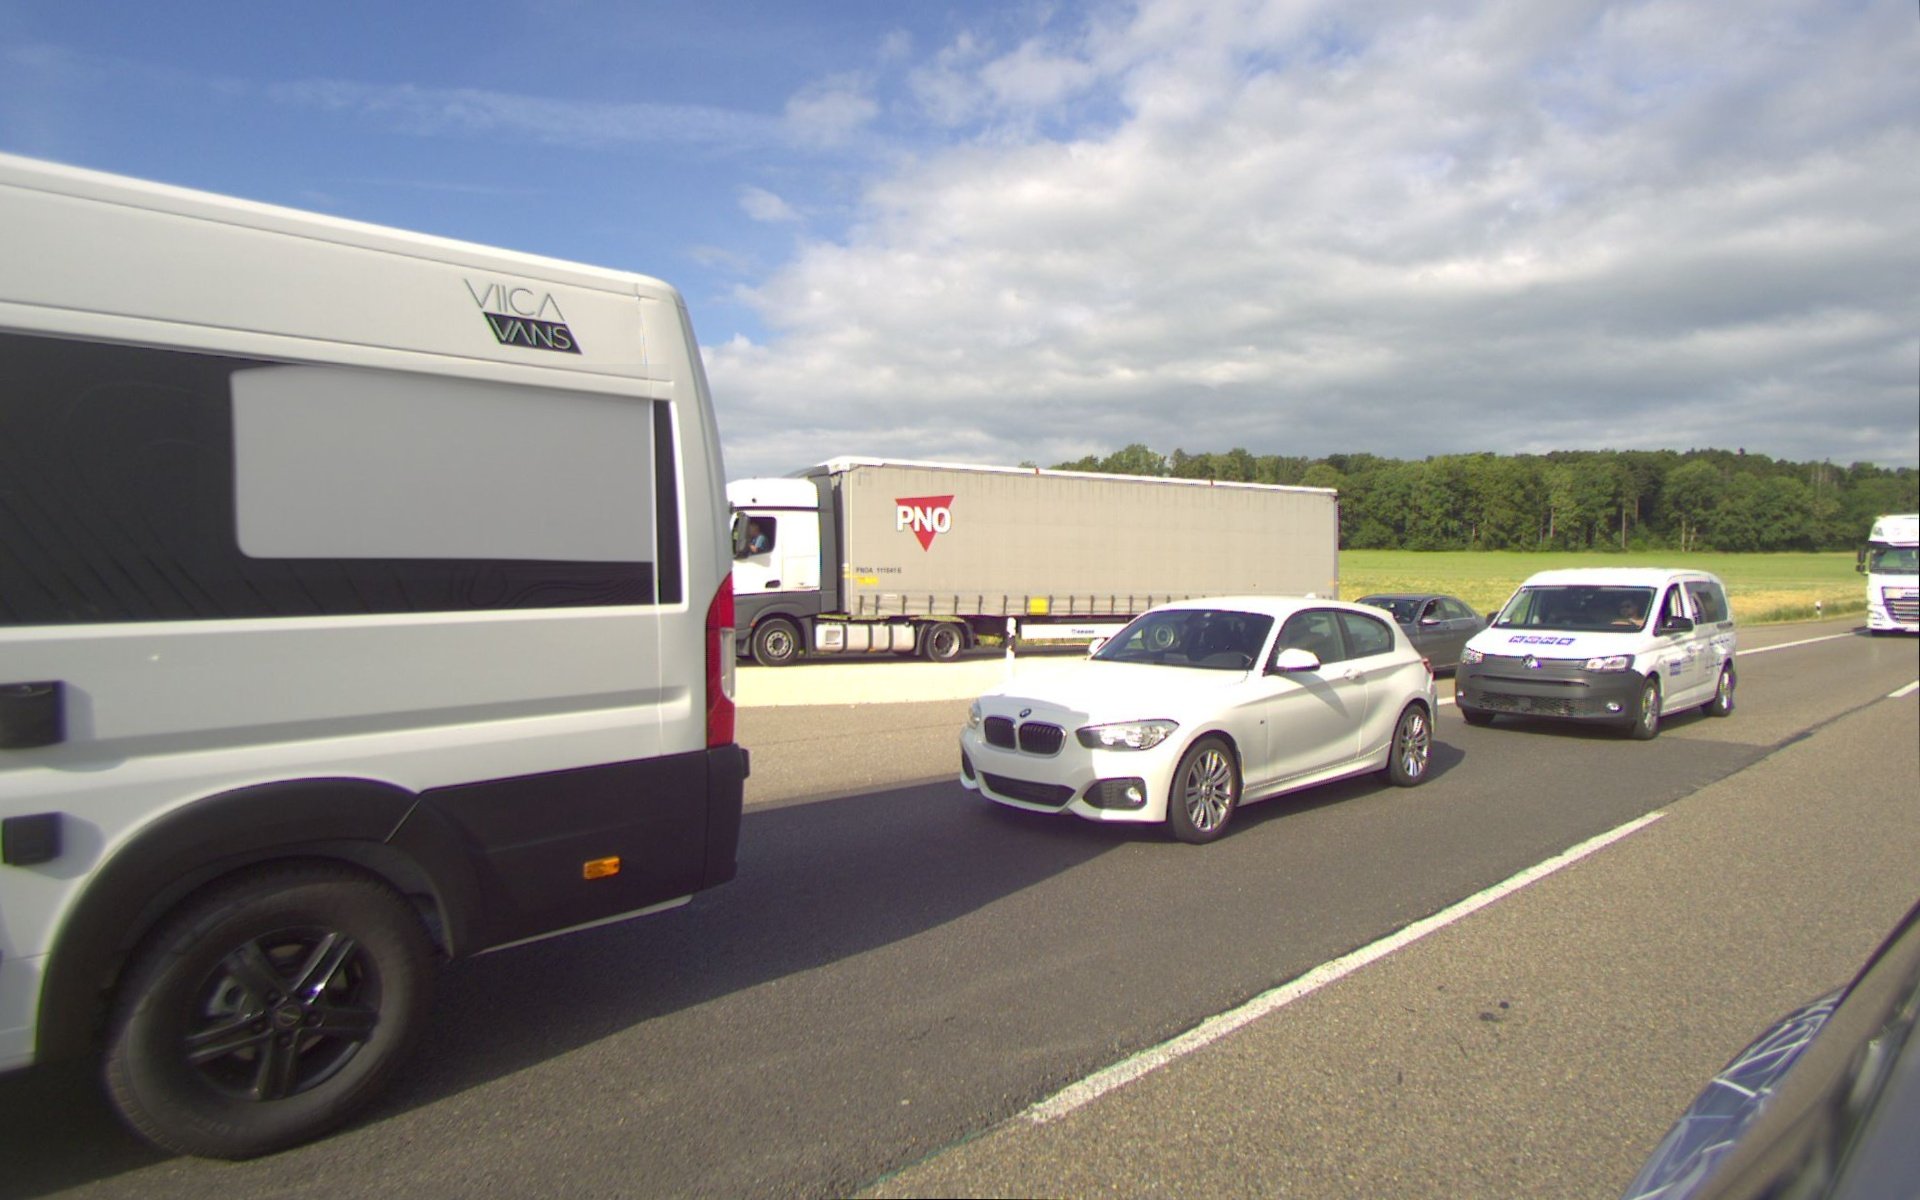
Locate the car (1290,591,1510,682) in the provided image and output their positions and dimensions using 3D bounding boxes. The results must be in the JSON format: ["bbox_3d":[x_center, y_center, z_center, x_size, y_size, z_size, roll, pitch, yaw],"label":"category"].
[{"bbox_3d":[7.514,0.536,17.143,4.108,1.370,1.707,0,0,-39],"label":"car"}]

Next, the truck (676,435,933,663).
[{"bbox_3d":[-3.251,-0.952,20.980,4.662,4.226,2.727,0,0,-26],"label":"truck"}]

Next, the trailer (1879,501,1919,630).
[{"bbox_3d":[36.701,-1.266,37.248,13.777,4.212,2.739,-2,1,-41],"label":"trailer"}]

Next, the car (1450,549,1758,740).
[{"bbox_3d":[7.530,0.400,11.629,4.620,1.779,1.727,0,0,-41],"label":"car"}]

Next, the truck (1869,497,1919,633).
[{"bbox_3d":[32.055,-1.151,33.132,5.667,4.226,2.733,-1,1,-41],"label":"truck"}]

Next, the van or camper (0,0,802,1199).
[{"bbox_3d":[-3.601,-0.007,2.248,6.222,2.714,2.219,0,1,-41],"label":"van or camper"}]

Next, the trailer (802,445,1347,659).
[{"bbox_3d":[3.193,-0.961,24.126,13.543,4.213,2.748,0,0,-26],"label":"trailer"}]

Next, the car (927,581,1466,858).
[{"bbox_3d":[1.900,0.604,7.316,4.158,1.450,1.706,0,0,-41],"label":"car"}]
